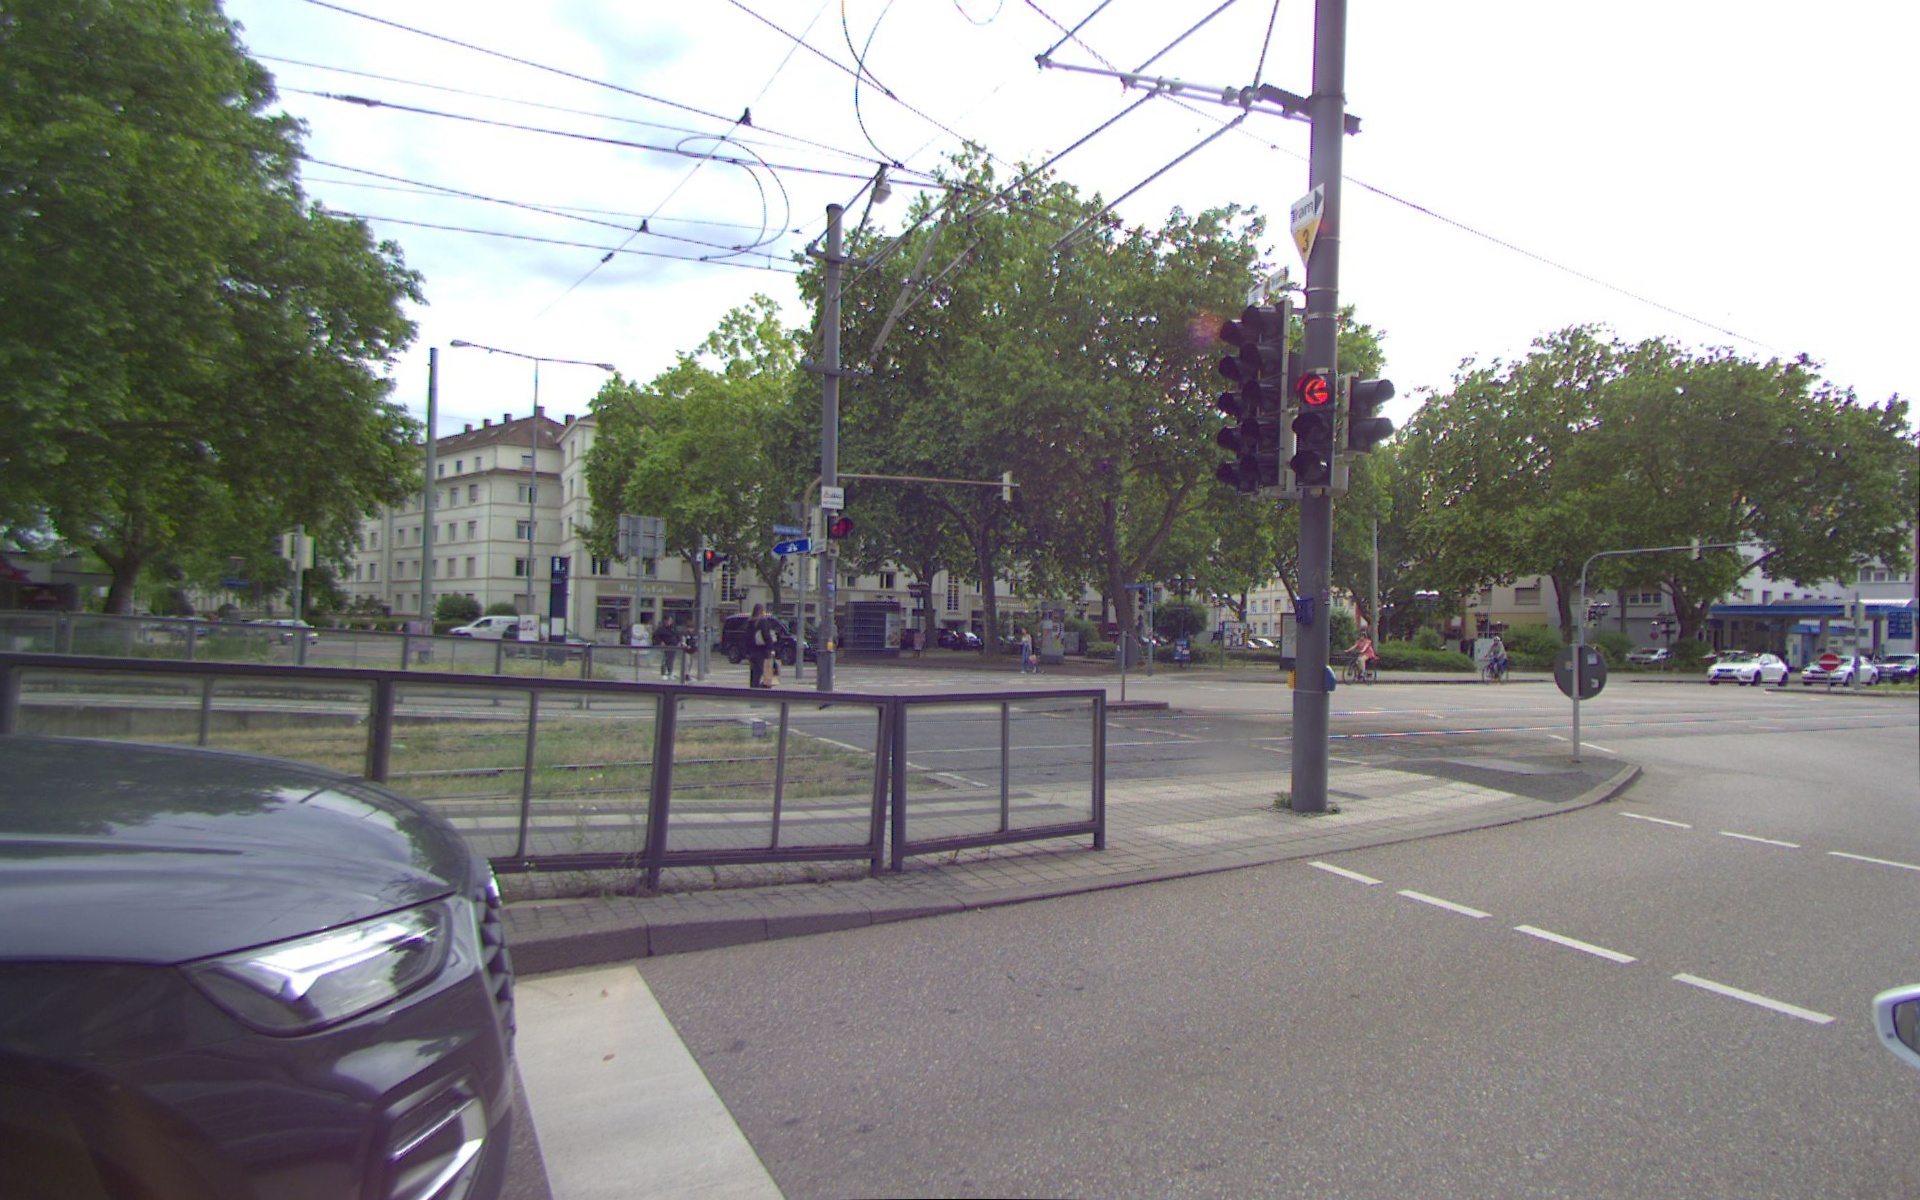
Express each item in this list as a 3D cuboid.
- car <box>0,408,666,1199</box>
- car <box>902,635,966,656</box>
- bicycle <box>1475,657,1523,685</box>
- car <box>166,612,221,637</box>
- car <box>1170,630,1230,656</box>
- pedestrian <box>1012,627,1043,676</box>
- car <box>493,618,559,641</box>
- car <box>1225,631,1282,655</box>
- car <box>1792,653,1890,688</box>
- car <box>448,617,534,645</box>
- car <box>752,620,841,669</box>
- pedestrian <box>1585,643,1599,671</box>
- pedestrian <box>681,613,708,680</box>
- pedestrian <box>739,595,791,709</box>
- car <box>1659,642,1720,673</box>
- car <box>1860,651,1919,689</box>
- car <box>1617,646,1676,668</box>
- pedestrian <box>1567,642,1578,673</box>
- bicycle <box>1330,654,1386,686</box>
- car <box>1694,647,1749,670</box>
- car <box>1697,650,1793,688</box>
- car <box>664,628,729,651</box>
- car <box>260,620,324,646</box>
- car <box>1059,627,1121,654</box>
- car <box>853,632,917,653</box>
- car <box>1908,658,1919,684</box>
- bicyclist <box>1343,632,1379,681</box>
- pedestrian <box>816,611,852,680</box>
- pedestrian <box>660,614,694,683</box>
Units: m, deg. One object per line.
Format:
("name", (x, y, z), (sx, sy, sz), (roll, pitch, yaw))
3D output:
("car", (-2.817, 0.550, 1.329), (4.316, 1.669, 1.903), (2, 0, -30))
("car", (-2.001, 3.416, 75.995), (4.766, 1.408, 2.071), (0, -2, 44))
("bicycle", (21.098, 2.777, 39.314), (1.969, 1.078, 0.724), (3, -4, -30))
("car", (-54.341, 1.750, 71.219), (3.933, 1.706, 1.930), (0, -2, 35))
("car", (21.297, 3.813, 89.207), (4.766, 2.129, 2.071), (0, -2, 44))
("pedestrian", (2.409, 1.842, 35.938), (0.748, 1.712, 0.799), (2, -2, -34))
("car", (-30.627, 2.108, 70.964), (3.919, 1.505, 1.804), (1, -1, 10))
("car", (27.491, 4.040, 94.262), (4.766, 2.129, 2.071), (0, -2, 44))
("car", (42.488, 3.382, 48.418), (5.635, 1.546, 1.832), (2, 0, -30))
("car", (-30.839, 2.042, 66.082), (4.789, 1.685, 1.979), (3, -2, -38))
("car", (-6.212, 1.713, 38.017), (1.894, 1.741, 3.703), (2, -4, -36))
("pedestrian", (30.794, 2.785, 48.940), (0.465, 1.343, 0.452), (2, -1, -36))
("pedestrian", (-6.547, 1.140, 24.793), (0.360, 1.633, 0.504), (2, 0, 28))
("pedestrian", (-3.124, 0.822, 16.083), (0.619, 1.773, 0.652), (2, 0, -28))
("car", (49.987, 3.939, 68.861), (3.953, 2.040, 1.984), (2, -2, -30))
("car", (48.902, 3.604, 52.145), (5.088, 1.807, 1.695), (2, 0, -30))
("car", (48.787, 4.060, 71.396), (3.953, 1.486, 1.984), (2, -2, -30))
("pedestrian", (30.216, 2.820, 49.560), (0.370, 1.498, 0.358), (2, -1, -36))
("bicycle", (13.642, 2.396, 34.400), (1.970, 1.078, 0.723), (3, -4, -31))
("car", (50.136, 3.857, 66.140), (3.363, 1.376, 1.695), (2, 0, -29))
("car", (34.517, 3.018, 44.153), (4.361, 1.467, 1.833), (2, 0, -30))
("car", (-17.663, 2.611, 67.202), (4.766, 1.408, 1.988), (0, -2, 44))
("car", (-39.340, 1.942, 59.156), (3.932, 1.439, 1.757), (0, -2, 34))
("car", (10.686, 3.318, 82.827), (4.766, 2.129, 2.071), (0, -2, 44))
("car", (-5.582, 3.120, 74.058), (4.766, 1.408, 2.071), (0, -2, 44))
("car", (54.331, 3.966, 55.540), (3.844, 1.416, 1.695), (2, 0, -29))
("bicyclist", (13.756, 1.926, 34.481), (0.982, 1.659, 0.702), (2, -3, -30))
("pedestrian", (-3.577, 1.287, 28.473), (0.679, 1.911, 0.685), (2, 0, 43))
("pedestrian", (-6.867, 1.175, 24.395), (0.517, 1.633, 0.523), (2, 0, 28))
